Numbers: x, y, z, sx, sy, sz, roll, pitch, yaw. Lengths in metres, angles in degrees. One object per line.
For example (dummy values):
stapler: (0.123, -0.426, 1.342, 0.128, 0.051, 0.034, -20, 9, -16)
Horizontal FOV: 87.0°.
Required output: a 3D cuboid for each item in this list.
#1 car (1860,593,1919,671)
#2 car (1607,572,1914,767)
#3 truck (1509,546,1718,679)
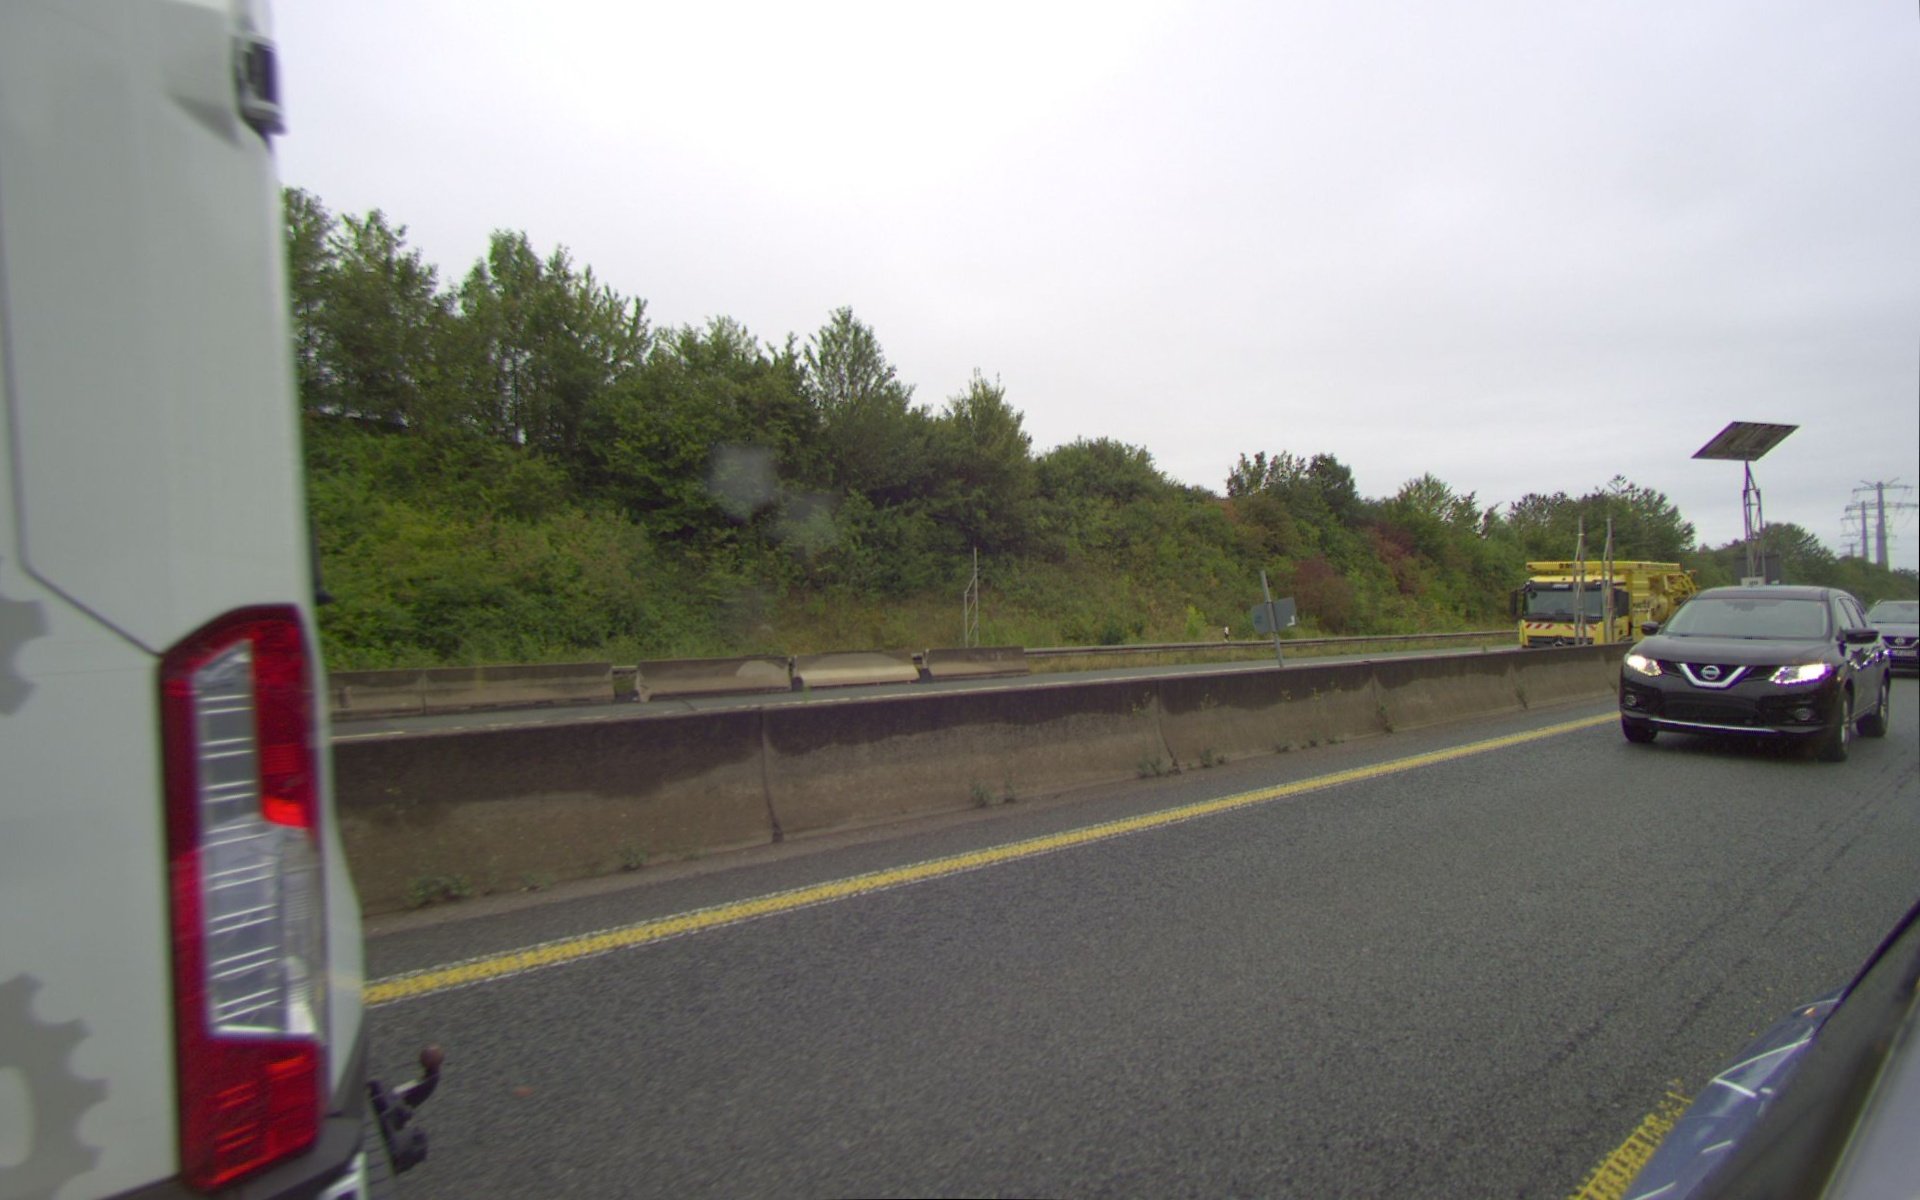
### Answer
car: (20.296, 0.619, 21.147, 4.053, 1.509, 1.782, -1, 1, -42)
car: (8.854, 0.580, 11.036, 4.561, 1.696, 1.892, -1, 1, -42)
truck: (19.848, 0.279, 30.418, 9.405, 3.467, 2.618, -1, 0, -40)
